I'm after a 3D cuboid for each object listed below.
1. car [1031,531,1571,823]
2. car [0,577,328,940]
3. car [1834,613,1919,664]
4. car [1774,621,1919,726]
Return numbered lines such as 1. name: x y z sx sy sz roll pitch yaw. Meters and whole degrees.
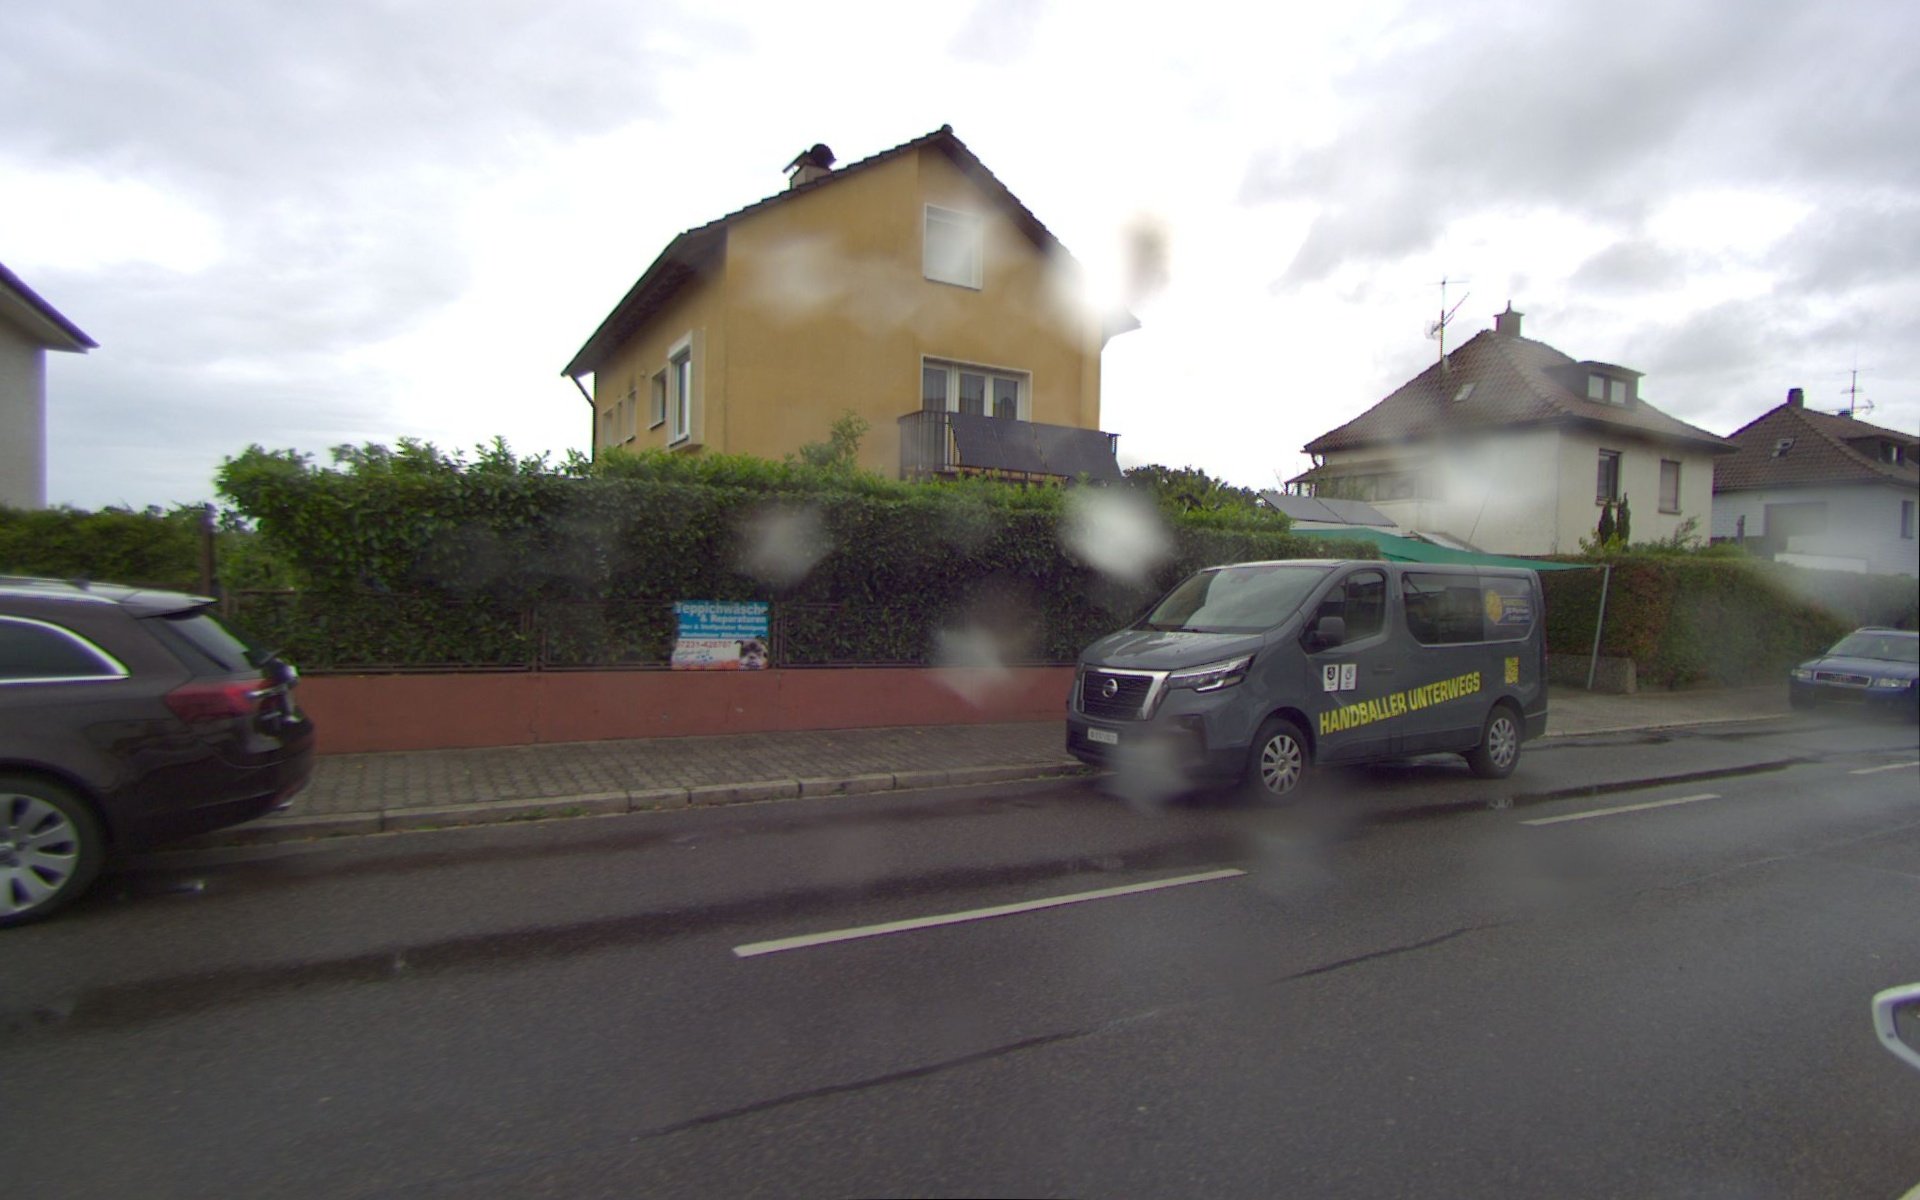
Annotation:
1. car: 3.251 0.581 9.143 5.032 2.029 1.902 2 0 -33
2. car: -5.443 0.635 4.403 4.478 1.537 1.740 2 0 -33
3. car: 31.490 1.291 32.835 1.834 1.536 3.968 2 1 -29
4. car: 15.929 1.187 17.201 4.237 1.553 1.748 2 0 -31
